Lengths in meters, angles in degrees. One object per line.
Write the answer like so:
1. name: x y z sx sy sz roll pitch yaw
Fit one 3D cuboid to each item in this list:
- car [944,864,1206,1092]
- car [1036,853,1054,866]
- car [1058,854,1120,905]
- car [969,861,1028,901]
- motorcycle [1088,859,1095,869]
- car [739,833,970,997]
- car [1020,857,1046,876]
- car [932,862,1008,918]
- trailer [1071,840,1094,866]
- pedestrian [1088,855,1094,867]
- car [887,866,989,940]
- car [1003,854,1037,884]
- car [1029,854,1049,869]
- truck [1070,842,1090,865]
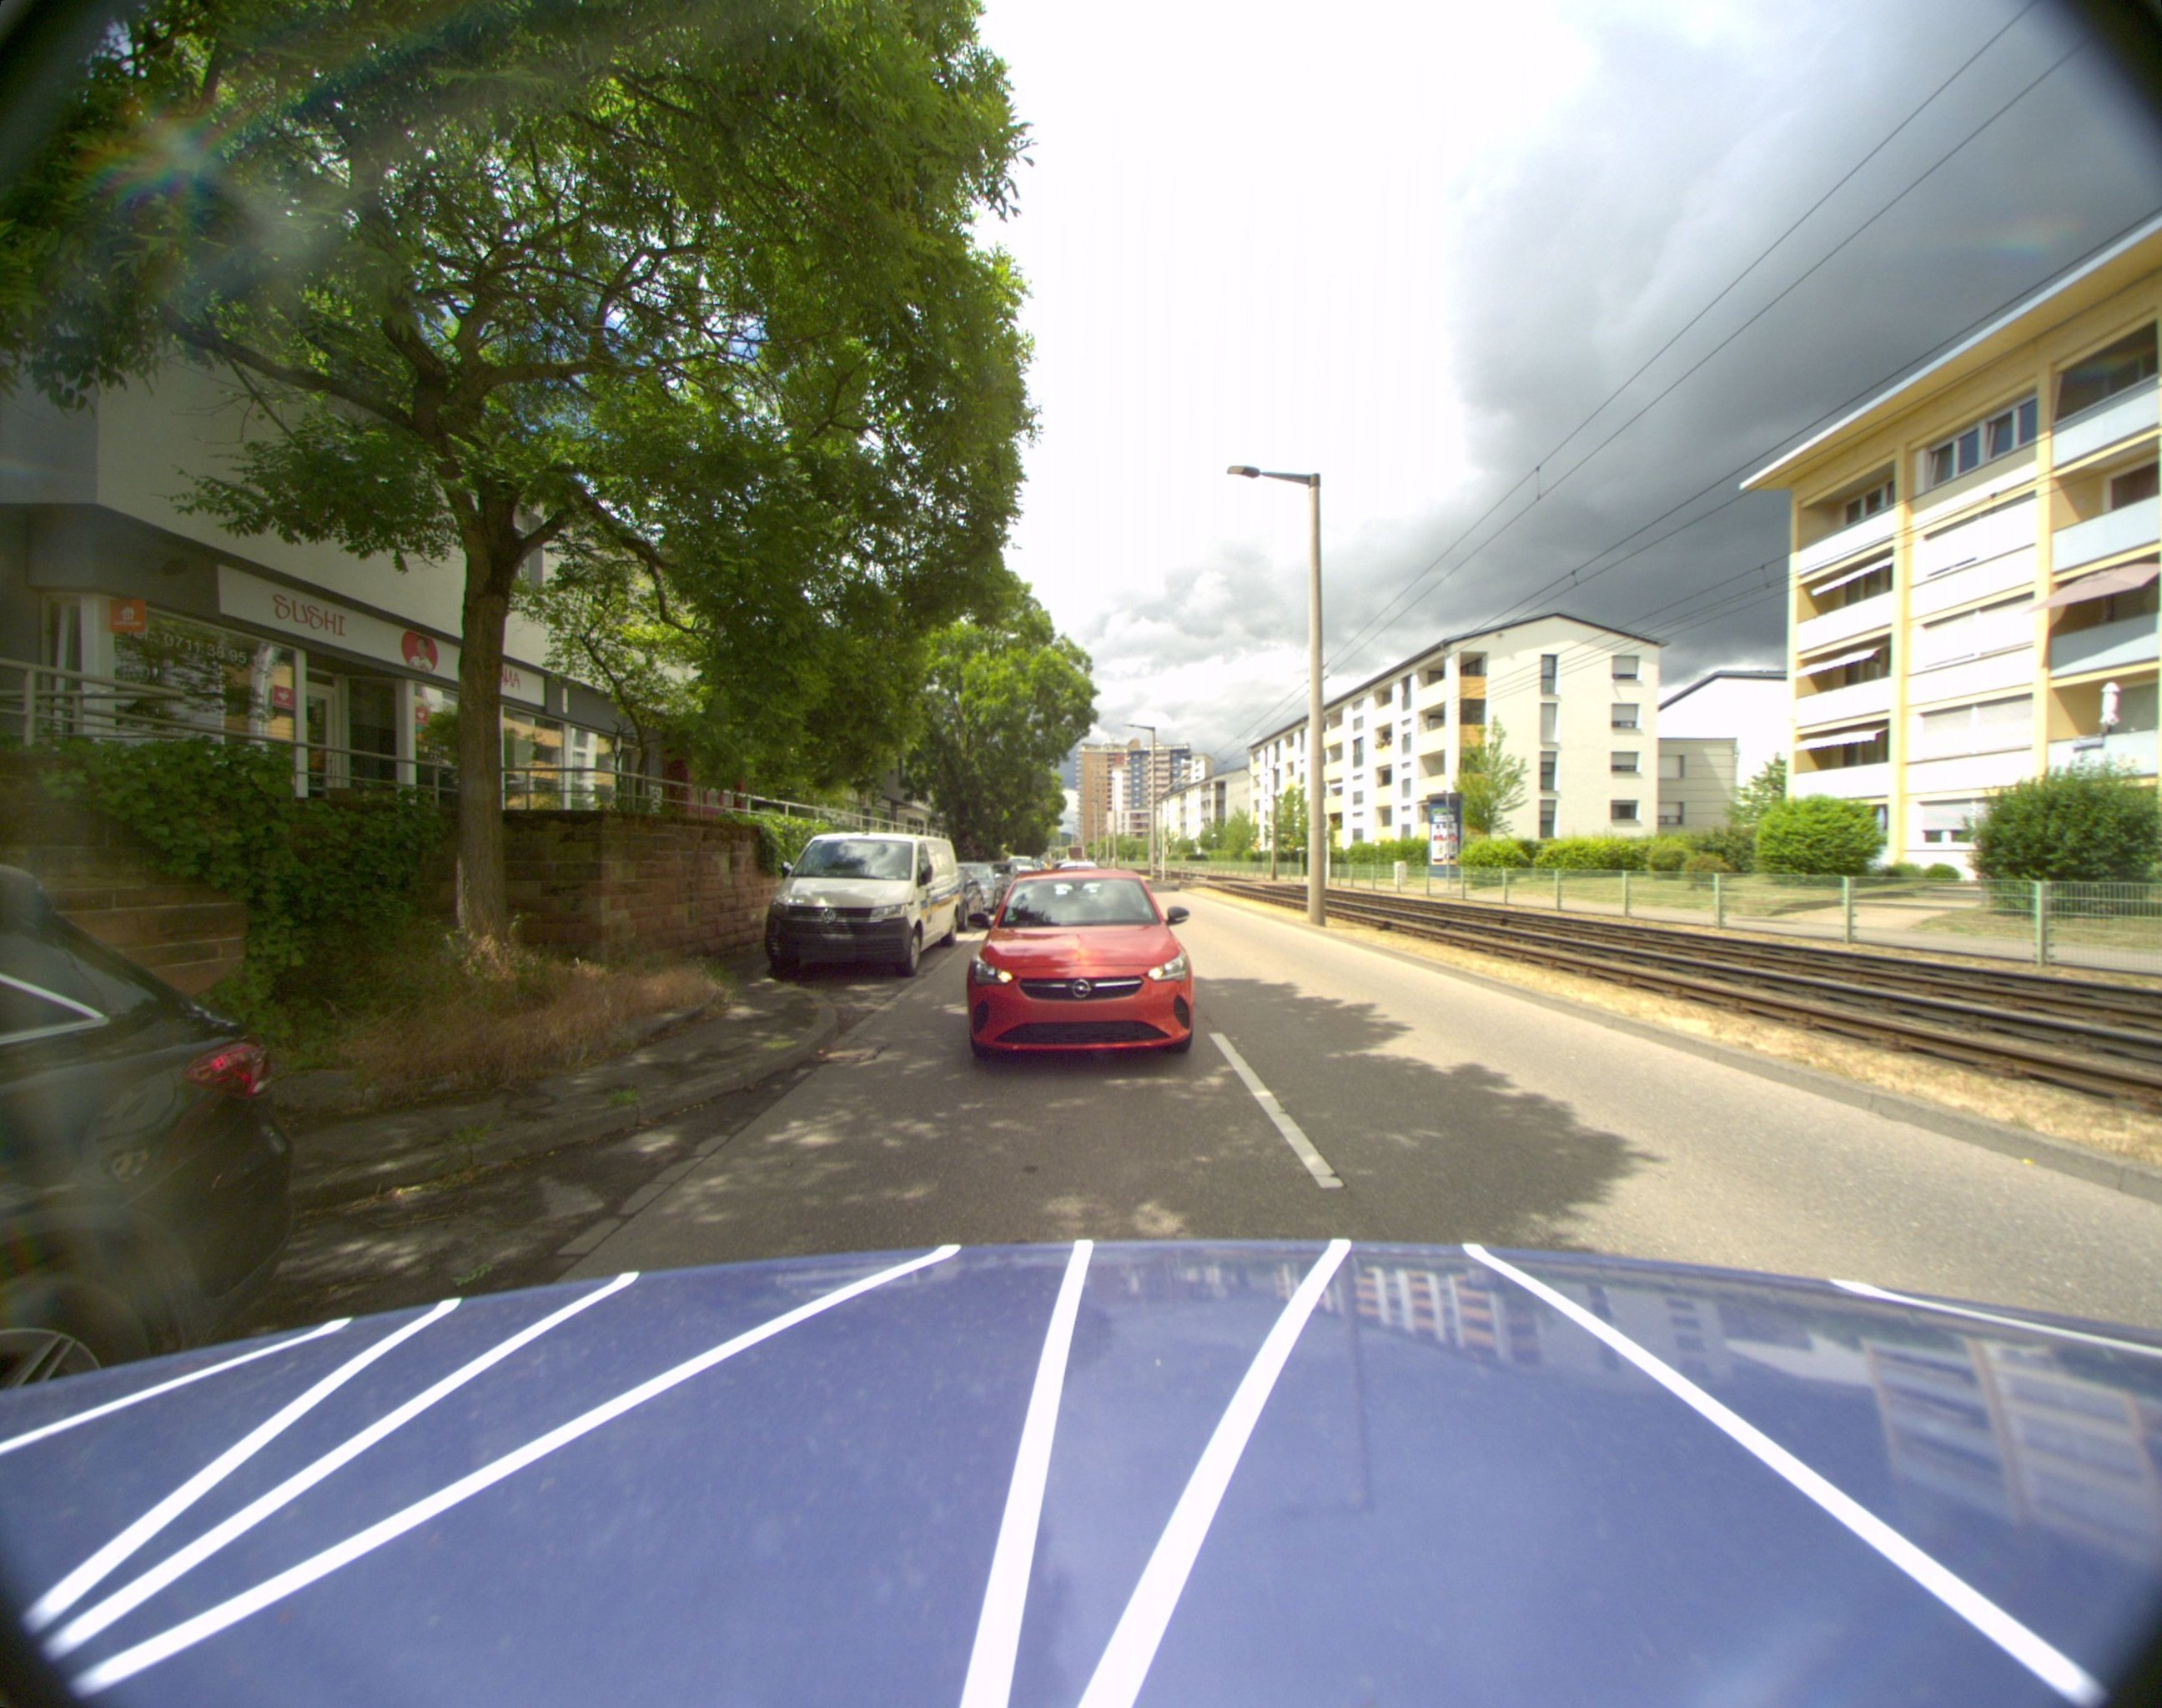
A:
1. car: 0.005 0.855 7.047 1.723 1.434 4.000 -1 0 1
2. car: -4.055 0.628 85.996 1.784 1.420 4.147 -1 0 0
3. car: 0.216 0.834 26.430 1.927 1.543 3.999 -2 0 -1
4. car: -3.135 1.000 29.696 1.784 1.420 4.147 -1 0 0
5. motorcycle: 1.237 1.176 93.143 0.783 1.181 1.869 -1 0 -1
6. car: -3.107 0.732 11.680 1.978 1.958 5.013 -1 0 1
7. car: -3.848 0.963 61.575 1.784 1.420 4.147 -1 0 0
8. car: -3.200 1.001 22.627 1.785 1.420 4.144 -1 0 -2
9. trailer: 0.067 -0.123 111.243 2.875 3.428 14.612 -2 0 -1
10. pedestrian: 1.227 0.824 93.087 0.737 1.408 0.927 -2 1 -1
11. car: -3.157 1.041 17.452 1.578 1.420 3.734 -1 0 0
12. car: -3.554 0.851 45.005 1.819 1.643 4.146 0 0 -2
13. car: -4.324 0.755 79.016 1.784 1.420 4.147 -1 0 0
14. truck: -0.138 -0.152 119.399 2.852 3.428 4.414 -2 0 -2
